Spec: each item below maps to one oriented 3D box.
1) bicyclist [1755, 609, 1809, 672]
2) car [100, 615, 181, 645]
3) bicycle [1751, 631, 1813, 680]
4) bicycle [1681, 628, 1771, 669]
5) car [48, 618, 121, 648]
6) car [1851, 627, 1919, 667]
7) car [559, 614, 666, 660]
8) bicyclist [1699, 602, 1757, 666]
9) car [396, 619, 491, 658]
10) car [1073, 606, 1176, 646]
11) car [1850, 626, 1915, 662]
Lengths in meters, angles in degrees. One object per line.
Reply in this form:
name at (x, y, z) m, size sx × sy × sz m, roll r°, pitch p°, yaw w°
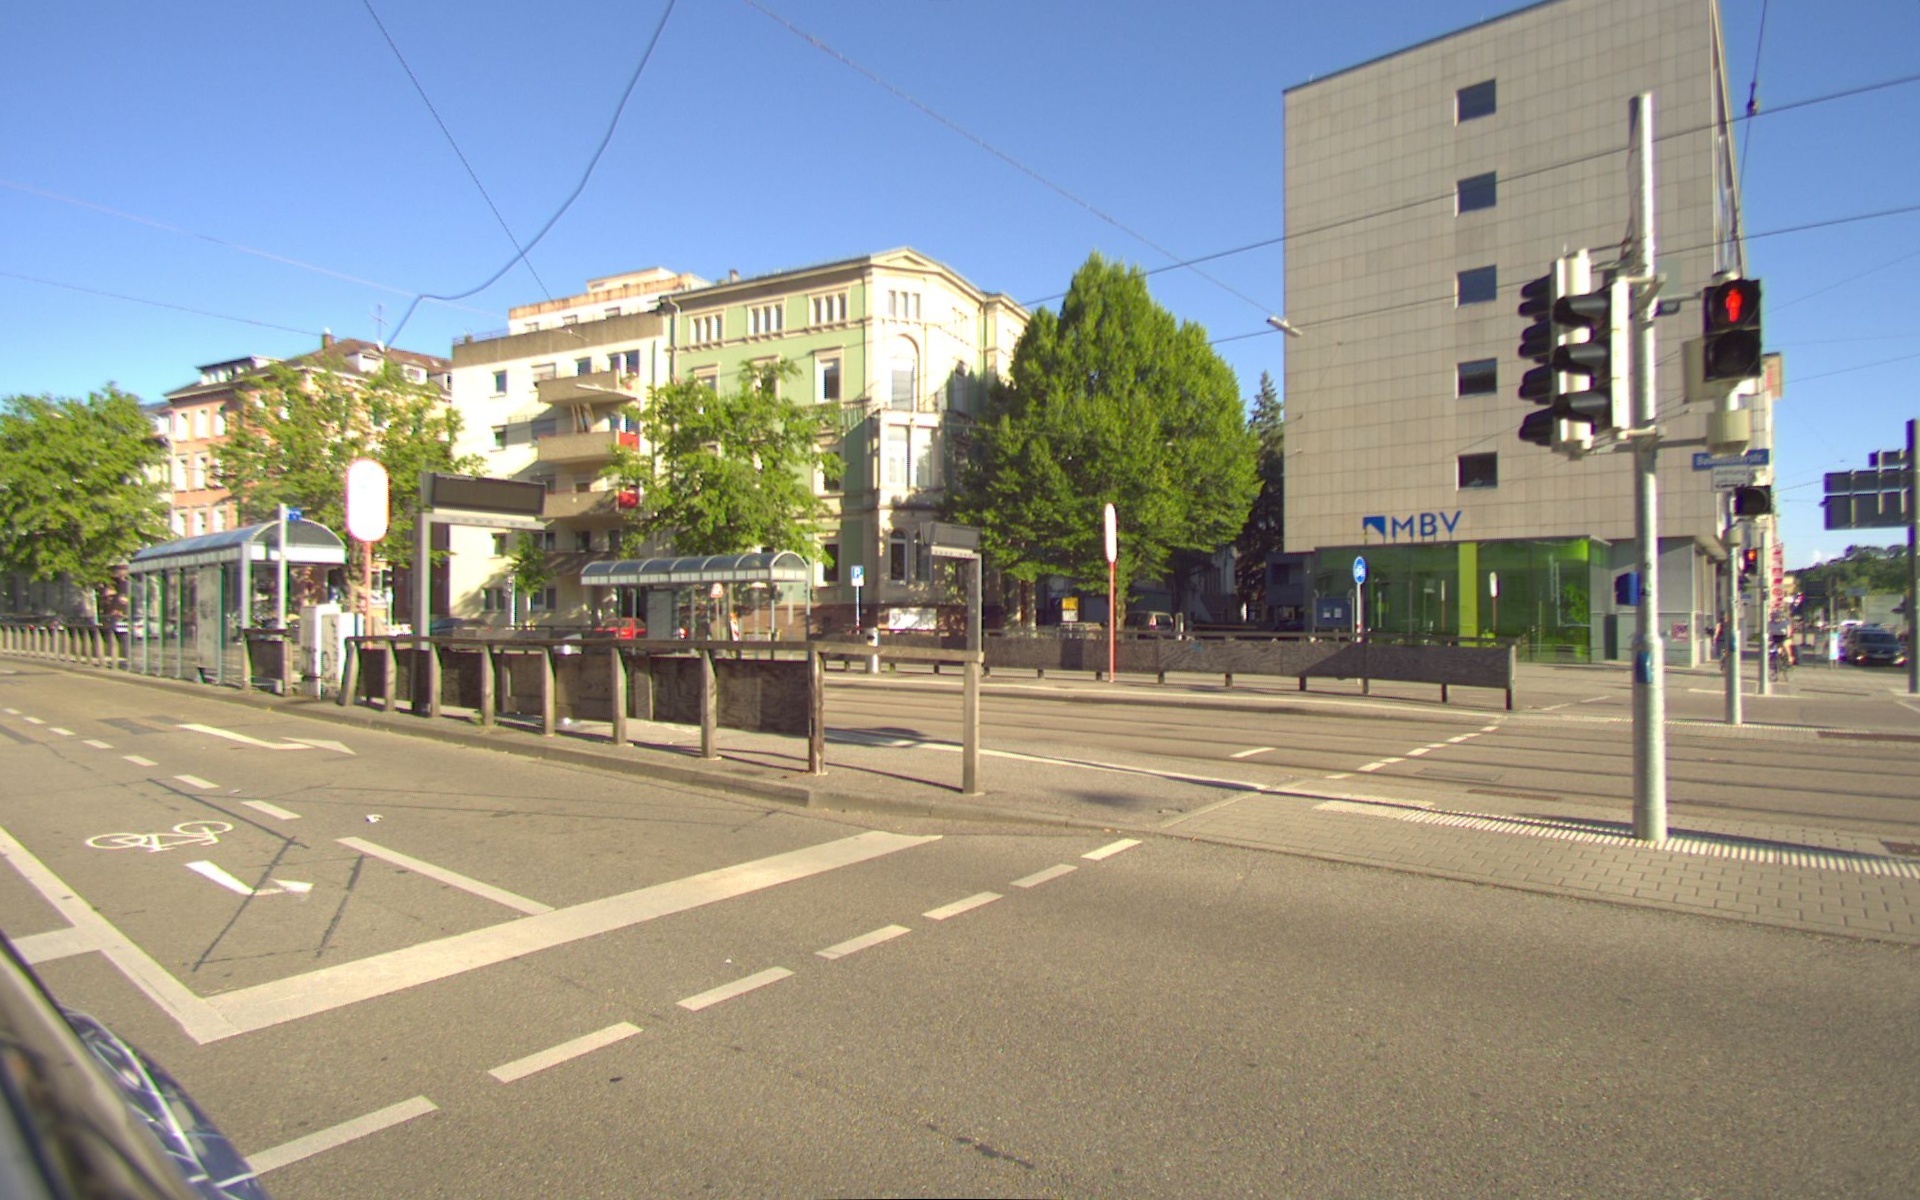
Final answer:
bicyclist at (20.912, 1.010, 25.743) m, size 0.893 × 1.518 × 0.890 m, roll -1°, pitch 2°, yaw -41°
car at (-48.205, 1.743, 59.624) m, size 1.714 × 1.597 × 4.004 m, roll -1°, pitch 0°, yaw -5°
bicycle at (20.971, 1.384, 25.808) m, size 2.149 × 1.075 × 0.885 m, roll -1°, pitch 2°, yaw -42°
bicycle at (20.918, 1.316, 27.654) m, size 1.879 × 1.075 × 0.756 m, roll 0°, pitch 1°, yaw -3°
car at (-48.862, 1.823, 56.496) m, size 3.980 × 1.597 × 1.725 m, roll -1°, pitch 0°, yaw 27°
car at (38.918, 1.930, 42.556) m, size 1.998 × 1.585 × 4.488 m, roll -1°, pitch -2°, yaw 40°
car at (-13.502, 1.393, 39.532) m, size 1.730 × 1.597 × 3.966 m, roll -1°, pitch 0°, yaw 25°
bicyclist at (20.975, 0.914, 27.651) m, size 0.932 × 1.703 × 0.765 m, roll 0°, pitch 2°, yaw -3°
car at (-22.691, 1.650, 44.438) m, size 3.980 × 1.597 × 1.725 m, roll -1°, pitch 0°, yaw 27°
car at (6.977, 1.068, 43.036) m, size 3.991 × 1.597 × 1.720 m, roll -1°, pitch 0°, yaw 35°
car at (42.839, 1.993, 47.076) m, size 1.998 × 1.585 × 4.488 m, roll -1°, pitch -2°, yaw 40°
